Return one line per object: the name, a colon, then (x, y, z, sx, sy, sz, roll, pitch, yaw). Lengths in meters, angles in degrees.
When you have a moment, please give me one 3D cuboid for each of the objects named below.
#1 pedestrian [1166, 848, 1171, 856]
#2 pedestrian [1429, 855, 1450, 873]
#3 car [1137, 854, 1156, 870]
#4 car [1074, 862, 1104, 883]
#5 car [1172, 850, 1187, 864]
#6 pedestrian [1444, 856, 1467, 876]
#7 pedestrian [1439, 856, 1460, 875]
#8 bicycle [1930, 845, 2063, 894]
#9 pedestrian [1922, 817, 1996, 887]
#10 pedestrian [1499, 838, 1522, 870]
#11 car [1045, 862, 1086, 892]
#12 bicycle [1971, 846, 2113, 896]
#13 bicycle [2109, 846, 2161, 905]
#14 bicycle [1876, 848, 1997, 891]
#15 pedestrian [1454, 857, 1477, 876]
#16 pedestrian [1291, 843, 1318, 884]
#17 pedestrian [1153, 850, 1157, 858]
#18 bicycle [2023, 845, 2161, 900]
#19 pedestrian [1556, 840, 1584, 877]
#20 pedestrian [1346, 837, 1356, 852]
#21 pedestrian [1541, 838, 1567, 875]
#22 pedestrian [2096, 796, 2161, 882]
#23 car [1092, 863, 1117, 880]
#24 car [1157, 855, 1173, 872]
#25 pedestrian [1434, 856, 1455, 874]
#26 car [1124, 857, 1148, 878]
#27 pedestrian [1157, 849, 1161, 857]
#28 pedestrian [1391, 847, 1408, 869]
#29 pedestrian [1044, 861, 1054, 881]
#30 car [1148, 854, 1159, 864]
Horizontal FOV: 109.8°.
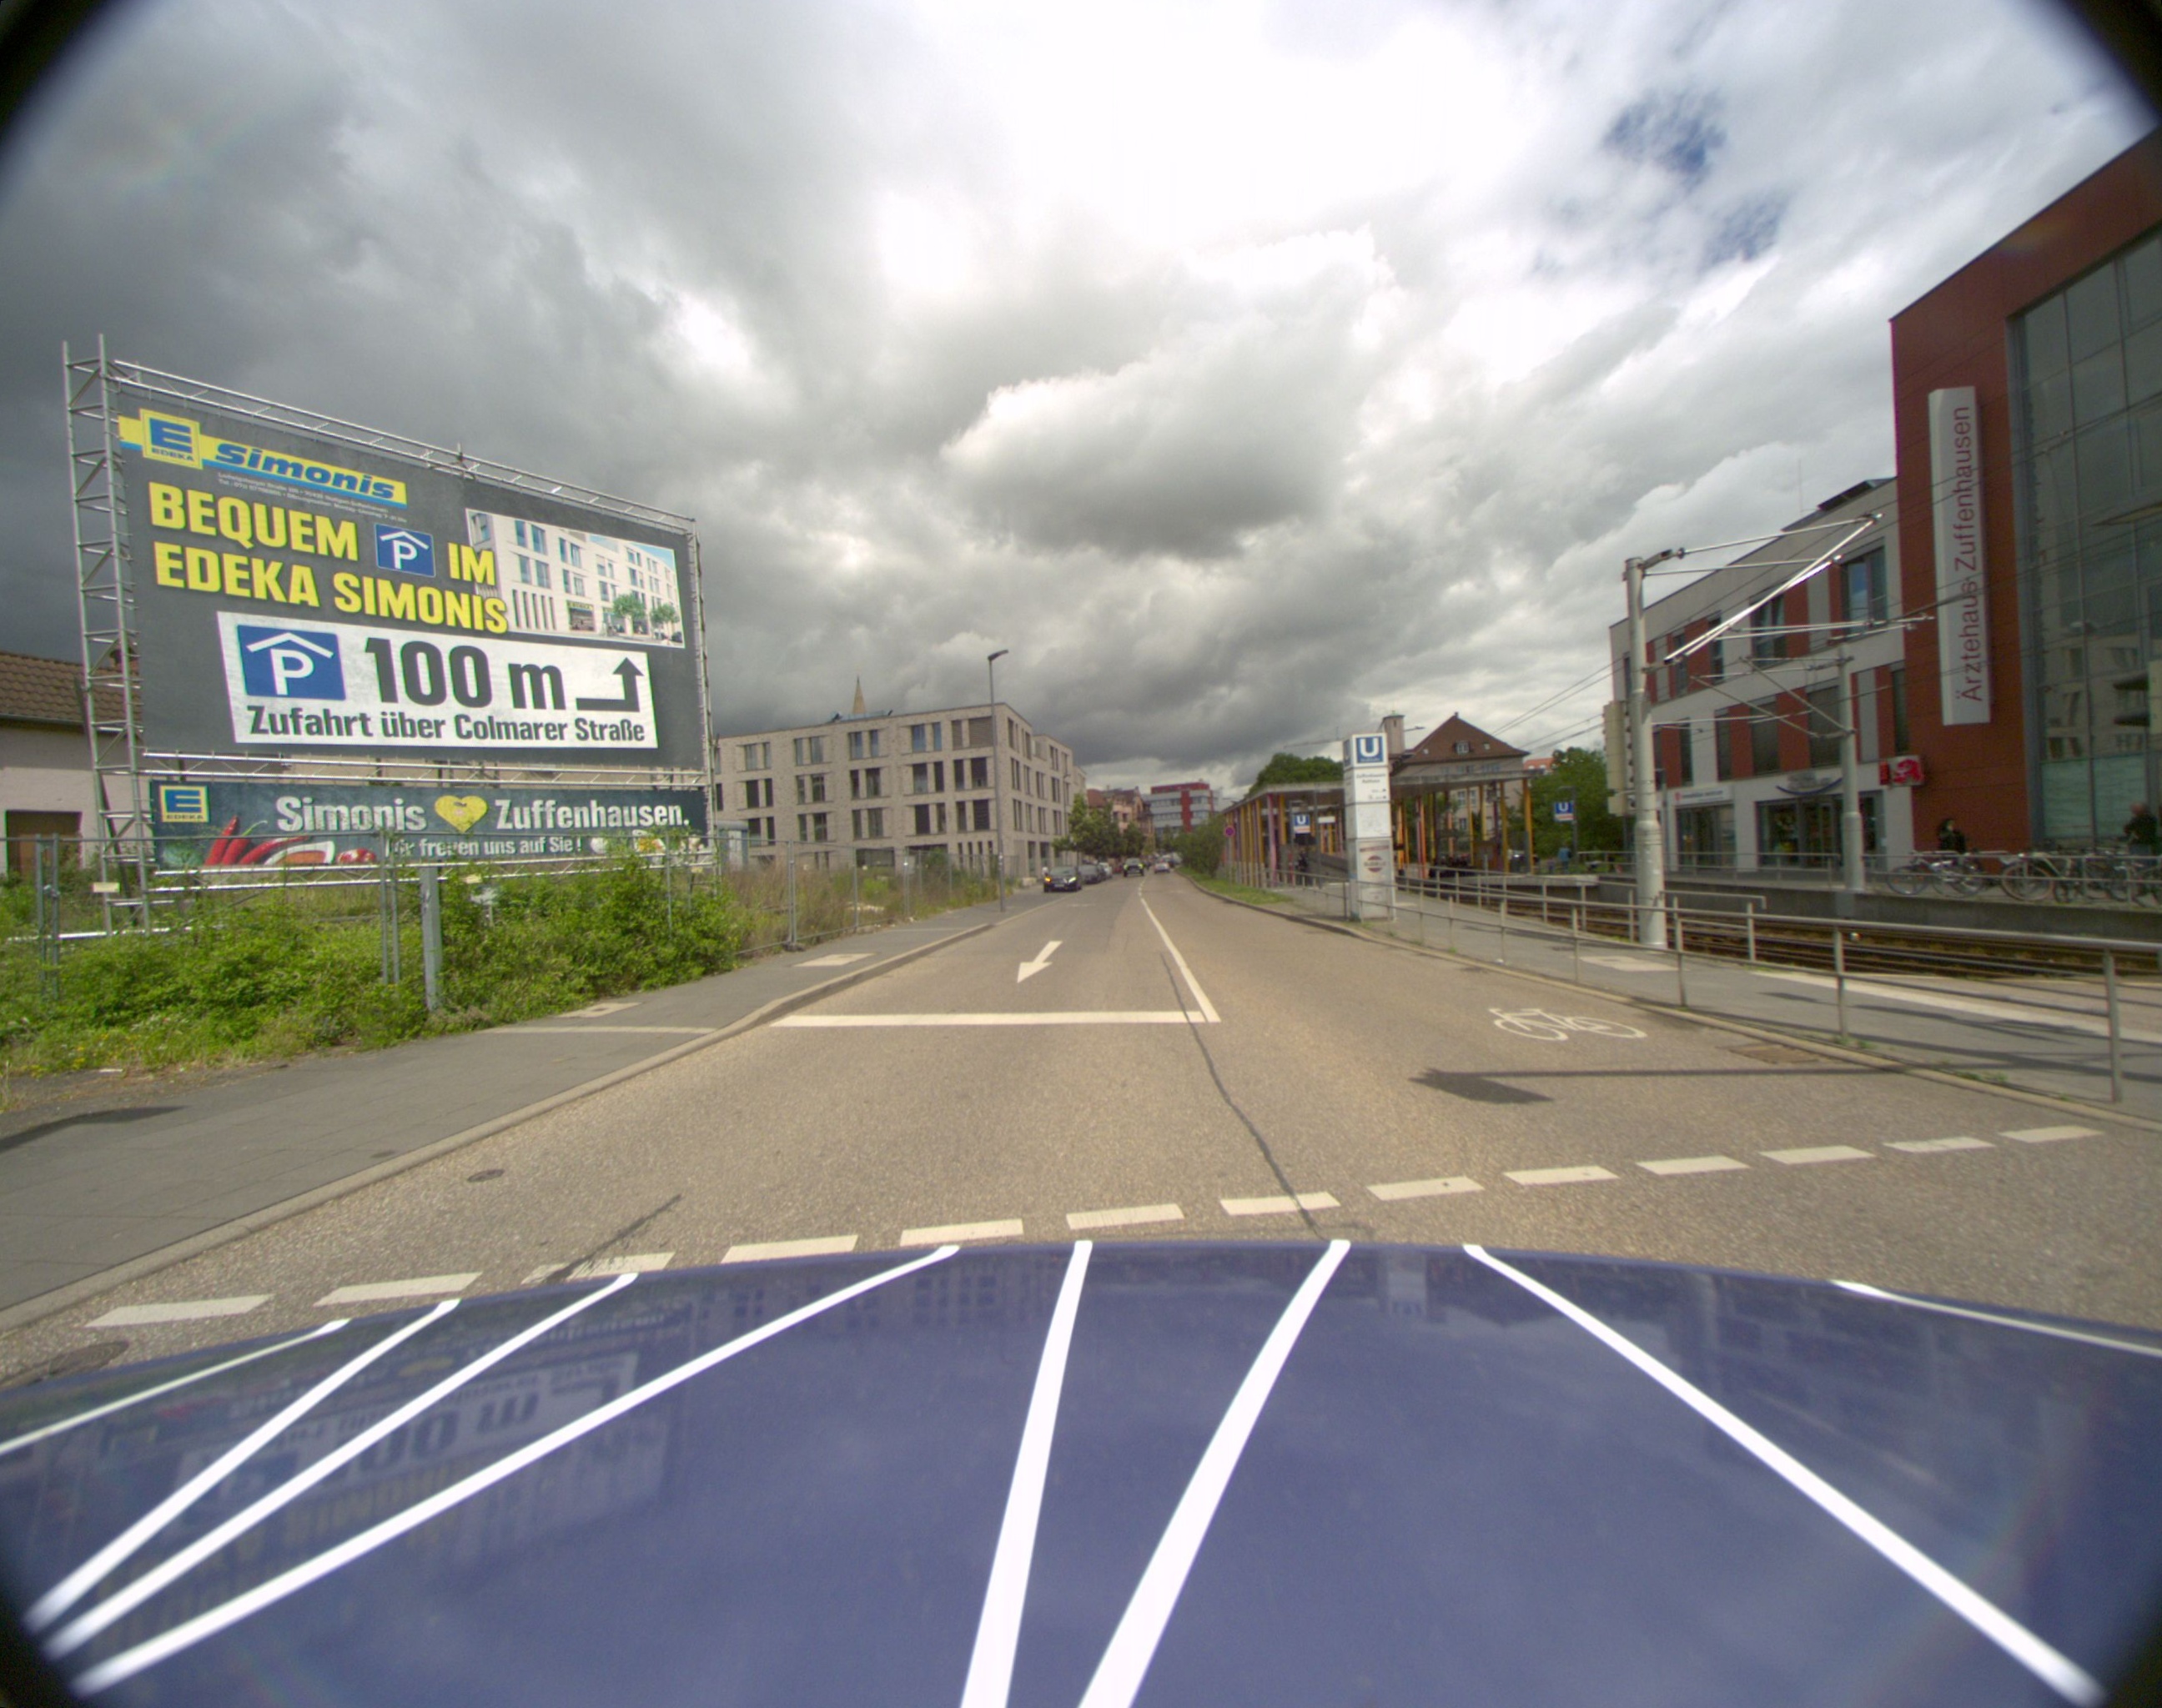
pedestrian: (17.503, -0.445, 152.035, 0.673, 1.503, 0.783, -2, 0, 15)
pedestrian: (23.284, 0.635, 49.389, 0.943, 1.128, 0.886, -2, 0, 7)
car: (8.499, 1.035, 98.377, 1.997, 2.001, 4.004, -2, 0, 11)
car: (0.635, 1.330, 55.468, 1.677, 1.367, 3.797, -2, 0, 7)
car: (15.335, 0.483, 117.875, 1.997, 2.064, 4.003, -1, 1, 11)
pedestrian: (22.857, 0.730, 46.395, 0.943, 1.128, 0.886, -2, 0, 7)
pedestrian: (22.946, 0.717, 47.349, 0.943, 1.128, 0.886, -2, 0, 7)
bicycle: (18.996, 0.324, 15.803, 1.860, 0.927, 0.455, -2, 1, 13)
pedestrian: (21.930, -0.061, 18.996, 0.788, 1.688, 0.935, -1, 1, -2)
pedestrian: (26.445, -0.023, 46.842, 0.863, 1.957, 1.106, -1, 1, 7)
car: (-0.793, 1.236, 41.689, 1.677, 1.415, 3.796, -1, 1, 7)
bicycle: (18.907, 0.335, 14.978, 1.860, 0.917, 0.455, -2, 1, 13)
bicycle: (18.864, 0.341, 12.921, 1.861, 0.957, 0.455, -2, 1, 8)
bicycle: (19.025, 0.344, 16.932, 1.860, 0.876, 0.455, -2, 1, 14)
pedestrian: (22.977, 0.739, 45.427, 0.943, 1.128, 0.886, -2, 0, 7)
pedestrian: (10.674, 0.463, 36.311, 1.104, 1.903, 0.865, -1, 1, 7)
pedestrian: (14.084, 0.075, 145.304, 0.673, 1.503, 0.783, -2, 0, 7)
bicycle: (18.820, 0.338, 14.080, 1.861, 0.934, 0.455, -2, 1, 10)
pedestrian: (26.271, 0.230, 40.825, 0.863, 1.957, 1.107, -1, 1, 10)
pedestrian: (36.297, -1.226, 102.200, 1.127, 2.002, 0.816, -2, 0, 10)
pedestrian: (25.486, 0.121, 40.954, 0.863, 1.957, 1.107, -1, 1, 10)
pedestrian: (23.512, -0.344, 16.947, 0.881, 1.835, 0.863, -4, 2, -23)
car: (1.985, 1.446, 63.286, 1.677, 1.299, 3.796, -1, 1, 7)
car: (8.947, 0.999, 81.300, 1.587, 1.527, 3.948, -5, 0, 6)
pedestrian: (23.119, 0.701, 48.330, 0.943, 1.128, 0.886, -2, 0, 7)
car: (5.581, 1.335, 76.467, 2.003, 1.876, 5.153, -1, 1, 9)
pedestrian: (14.848, -0.184, 144.948, 0.673, 1.503, 0.783, -2, 0, 7)
pedestrian: (29.692, 0.400, 70.826, 1.127, 2.002, 1.180, -2, 0, 10)
pedestrian: (-2.512, 1.338, 60.061, 0.673, 1.503, 0.783, -2, 0, 5)
car: (11.848, 0.754, 124.790, 1.718, 1.541, 3.794, -1, 0, 5)
